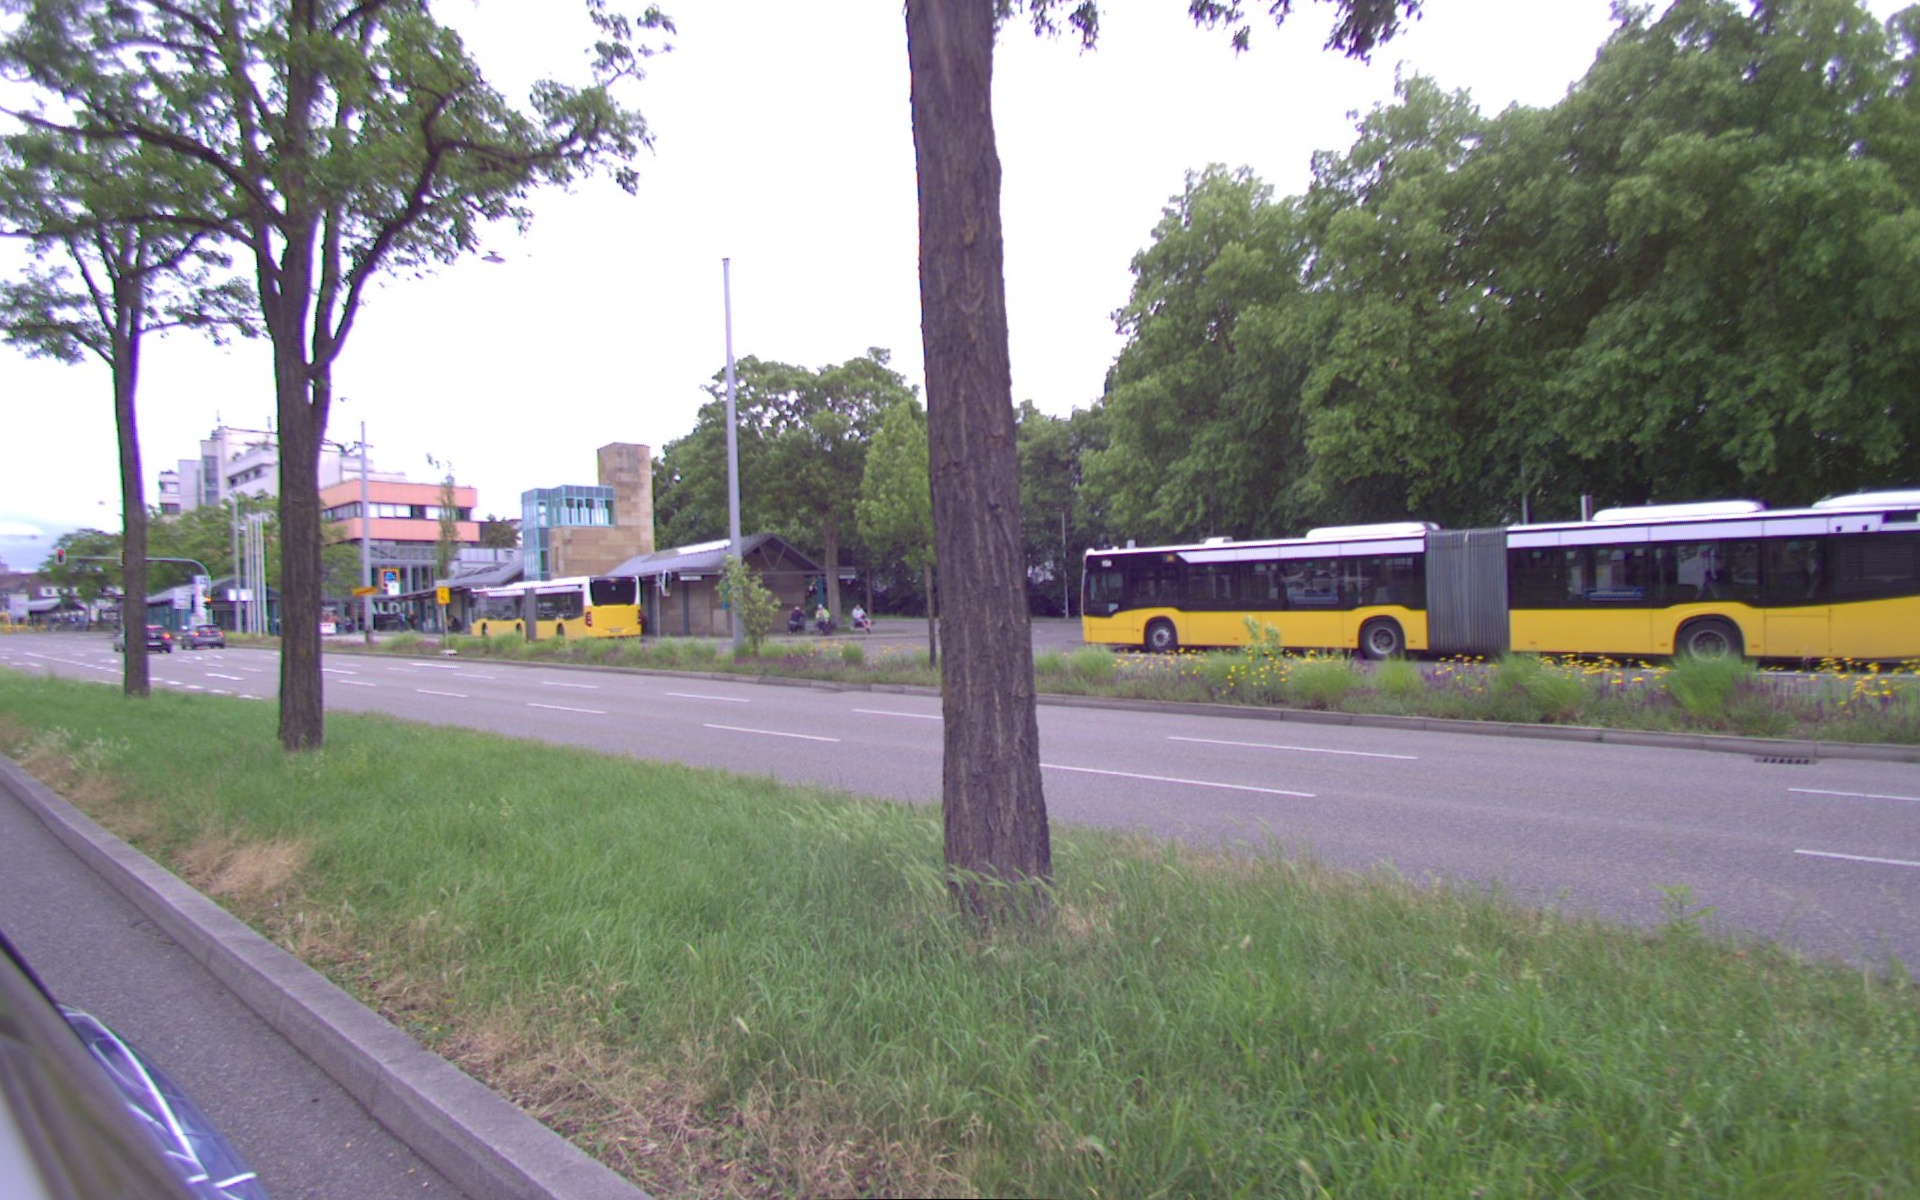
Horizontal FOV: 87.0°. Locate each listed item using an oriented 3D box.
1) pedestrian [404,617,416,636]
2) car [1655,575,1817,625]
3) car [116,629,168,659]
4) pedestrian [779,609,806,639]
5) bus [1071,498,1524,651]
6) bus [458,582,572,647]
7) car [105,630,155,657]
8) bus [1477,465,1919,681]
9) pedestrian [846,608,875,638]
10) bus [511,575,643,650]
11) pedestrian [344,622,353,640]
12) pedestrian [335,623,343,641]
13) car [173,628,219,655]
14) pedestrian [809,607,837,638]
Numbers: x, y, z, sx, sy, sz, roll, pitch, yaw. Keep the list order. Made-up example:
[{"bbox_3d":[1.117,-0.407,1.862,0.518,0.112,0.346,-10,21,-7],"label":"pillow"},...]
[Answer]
[{"bbox_3d":[-44.083,2.111,81.145,0.582,1.472,0.995,-2,0,-13],"label":"pedestrian"},{"bbox_3d":[27.164,0.027,35.513,1.971,1.593,4.250,-1,-1,-45],"label":"car"},{"bbox_3d":[-44.524,2.384,55.073,3.767,1.519,1.641,-2,-1,42],"label":"car"},{"bbox_3d":[-7.352,1.062,44.484,0.886,1.264,0.854,-2,-1,13],"label":"pedestrian"},{"bbox_3d":[8.046,-0.395,25.948,3.048,3.187,10.742,-1,-1,-45],"label":"bus"},{"bbox_3d":[-24.252,0.852,54.832,2.742,3.155,9.450,-3,1,-42],"label":"bus"},{"bbox_3d":[-48.897,2.573,59.571,3.789,1.476,1.726,-3,-1,42],"label":"car"},{"bbox_3d":[15.372,-0.447,18.609,2.997,3.481,9.916,-3,1,-45],"label":"bus"},{"bbox_3d":[-4.318,0.994,43.823,0.858,1.264,0.883,-2,-1,42],"label":"pedestrian"},{"bbox_3d":[-18.341,0.635,47.978,2.775,3.155,9.314,-4,1,-40],"label":"bus"},{"bbox_3d":[-53.714,2.693,88.901,0.382,1.559,0.480,-2,0,33],"label":"pedestrian"},{"bbox_3d":[-54.010,2.758,88.028,0.522,1.559,0.756,-2,0,-33],"label":"pedestrian"},{"bbox_3d":[-46.649,2.497,61.768,1.794,1.519,4.003,-1,-1,-44],"label":"car"},{"bbox_3d":[-5.819,0.962,43.050,0.888,1.300,0.853,-2,-1,18],"label":"pedestrian"}]
